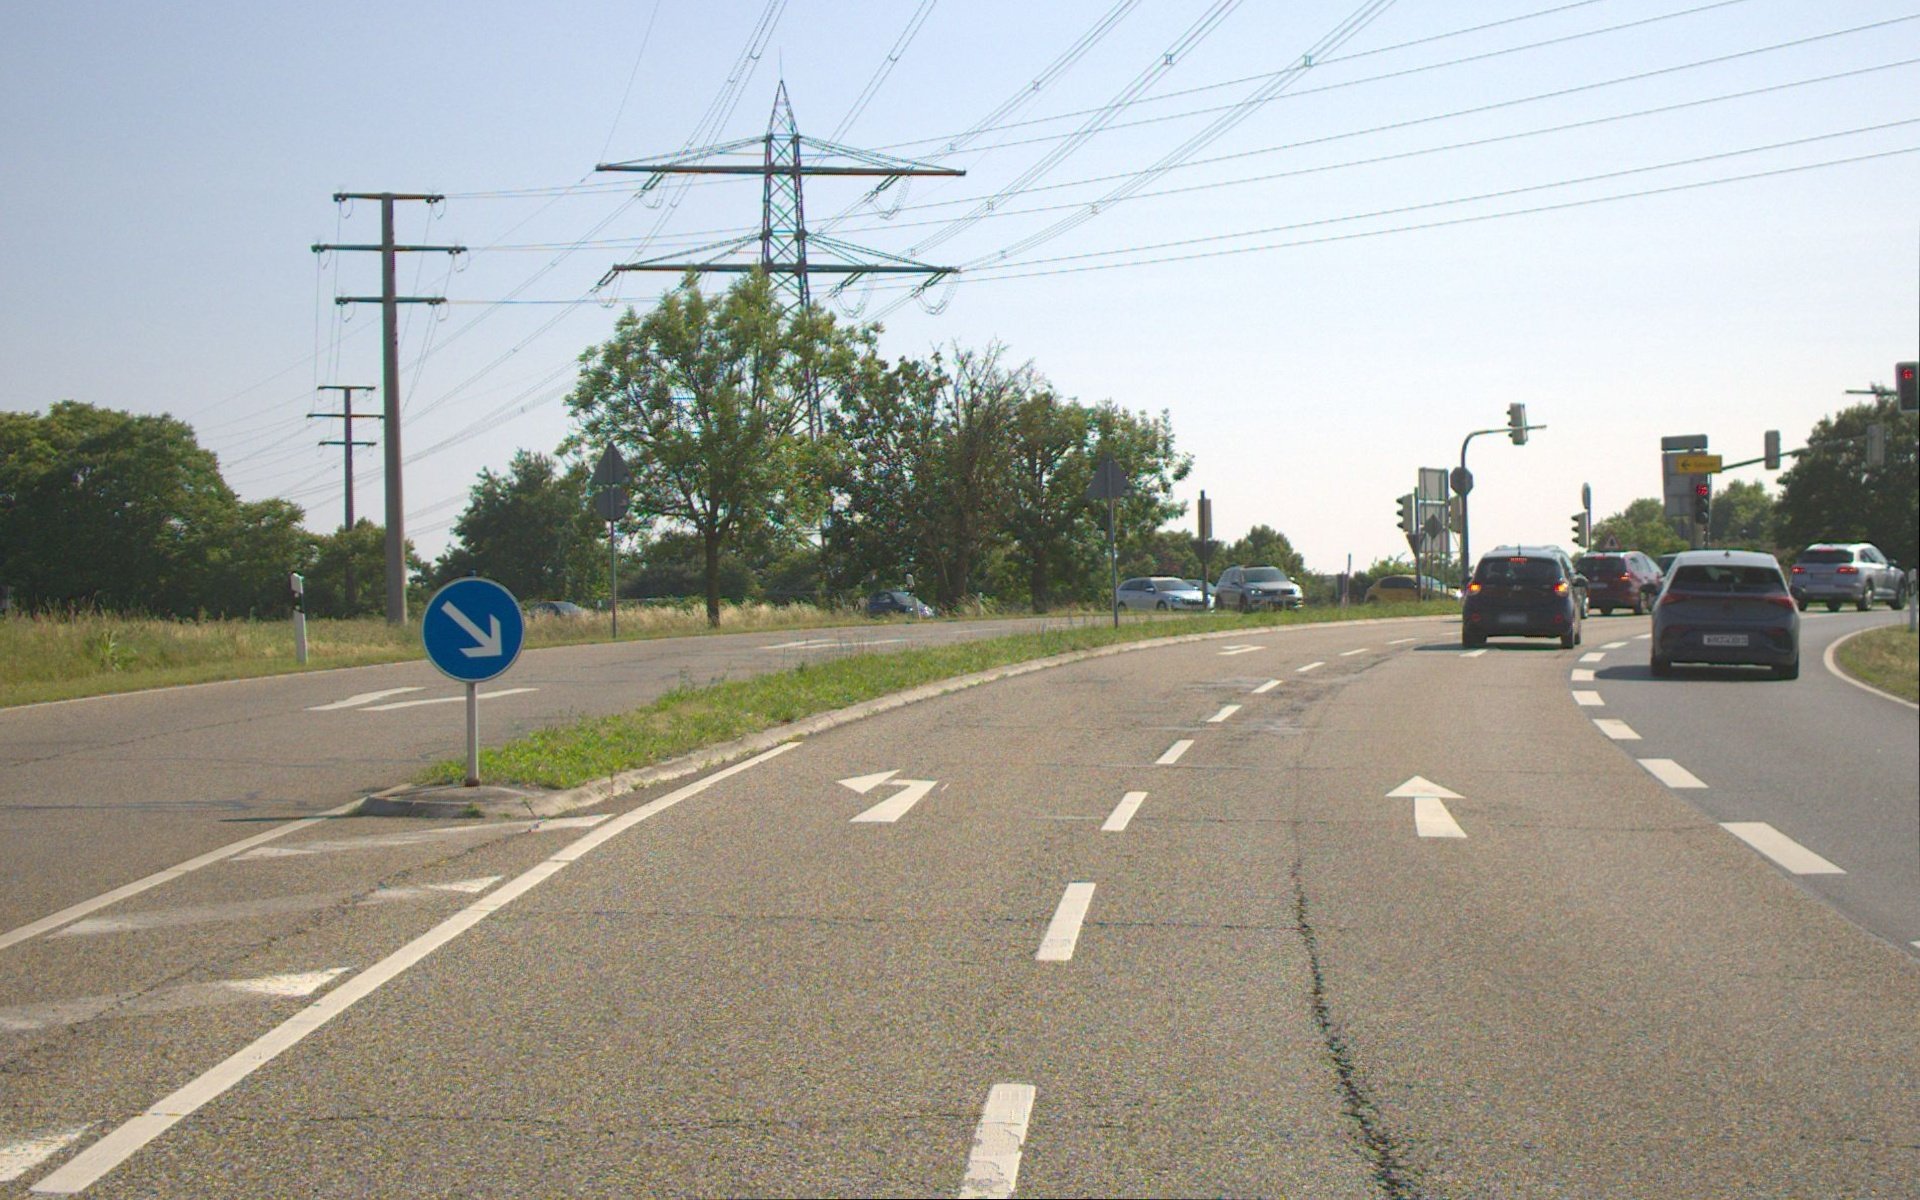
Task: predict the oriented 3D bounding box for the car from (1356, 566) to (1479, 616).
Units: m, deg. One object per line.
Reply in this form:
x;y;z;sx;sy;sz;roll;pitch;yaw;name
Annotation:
15.685;-0.303;118.043;1.815;1.645;3.998;-1;0;-39;car

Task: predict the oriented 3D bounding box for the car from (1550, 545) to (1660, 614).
15.120;-0.485;80.476;1.744;1.563;3.619;1;0;24;car

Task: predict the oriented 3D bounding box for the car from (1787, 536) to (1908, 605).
21.834;-0.721;84.510;1.636;1.671;3.742;0;0;35;car

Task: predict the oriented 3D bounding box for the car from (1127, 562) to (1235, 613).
7.436;-0.416;116.160;1.814;1.645;4.000;-1;0;-27;car

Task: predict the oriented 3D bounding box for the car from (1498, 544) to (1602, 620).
12.640;-0.399;73.575;1.743;1.563;3.621;1;1;17;car

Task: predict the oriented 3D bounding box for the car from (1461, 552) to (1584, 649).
8.657;-0.011;52.743;1.634;1.443;3.293;0;1;13;car

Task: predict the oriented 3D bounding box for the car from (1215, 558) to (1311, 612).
9.573;-0.473;108.836;1.814;1.645;4.001;-1;0;-14;car

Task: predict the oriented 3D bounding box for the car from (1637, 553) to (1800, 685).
9.376;0.193;42.736;1.773;1.512;4.098;1;1;10;car
